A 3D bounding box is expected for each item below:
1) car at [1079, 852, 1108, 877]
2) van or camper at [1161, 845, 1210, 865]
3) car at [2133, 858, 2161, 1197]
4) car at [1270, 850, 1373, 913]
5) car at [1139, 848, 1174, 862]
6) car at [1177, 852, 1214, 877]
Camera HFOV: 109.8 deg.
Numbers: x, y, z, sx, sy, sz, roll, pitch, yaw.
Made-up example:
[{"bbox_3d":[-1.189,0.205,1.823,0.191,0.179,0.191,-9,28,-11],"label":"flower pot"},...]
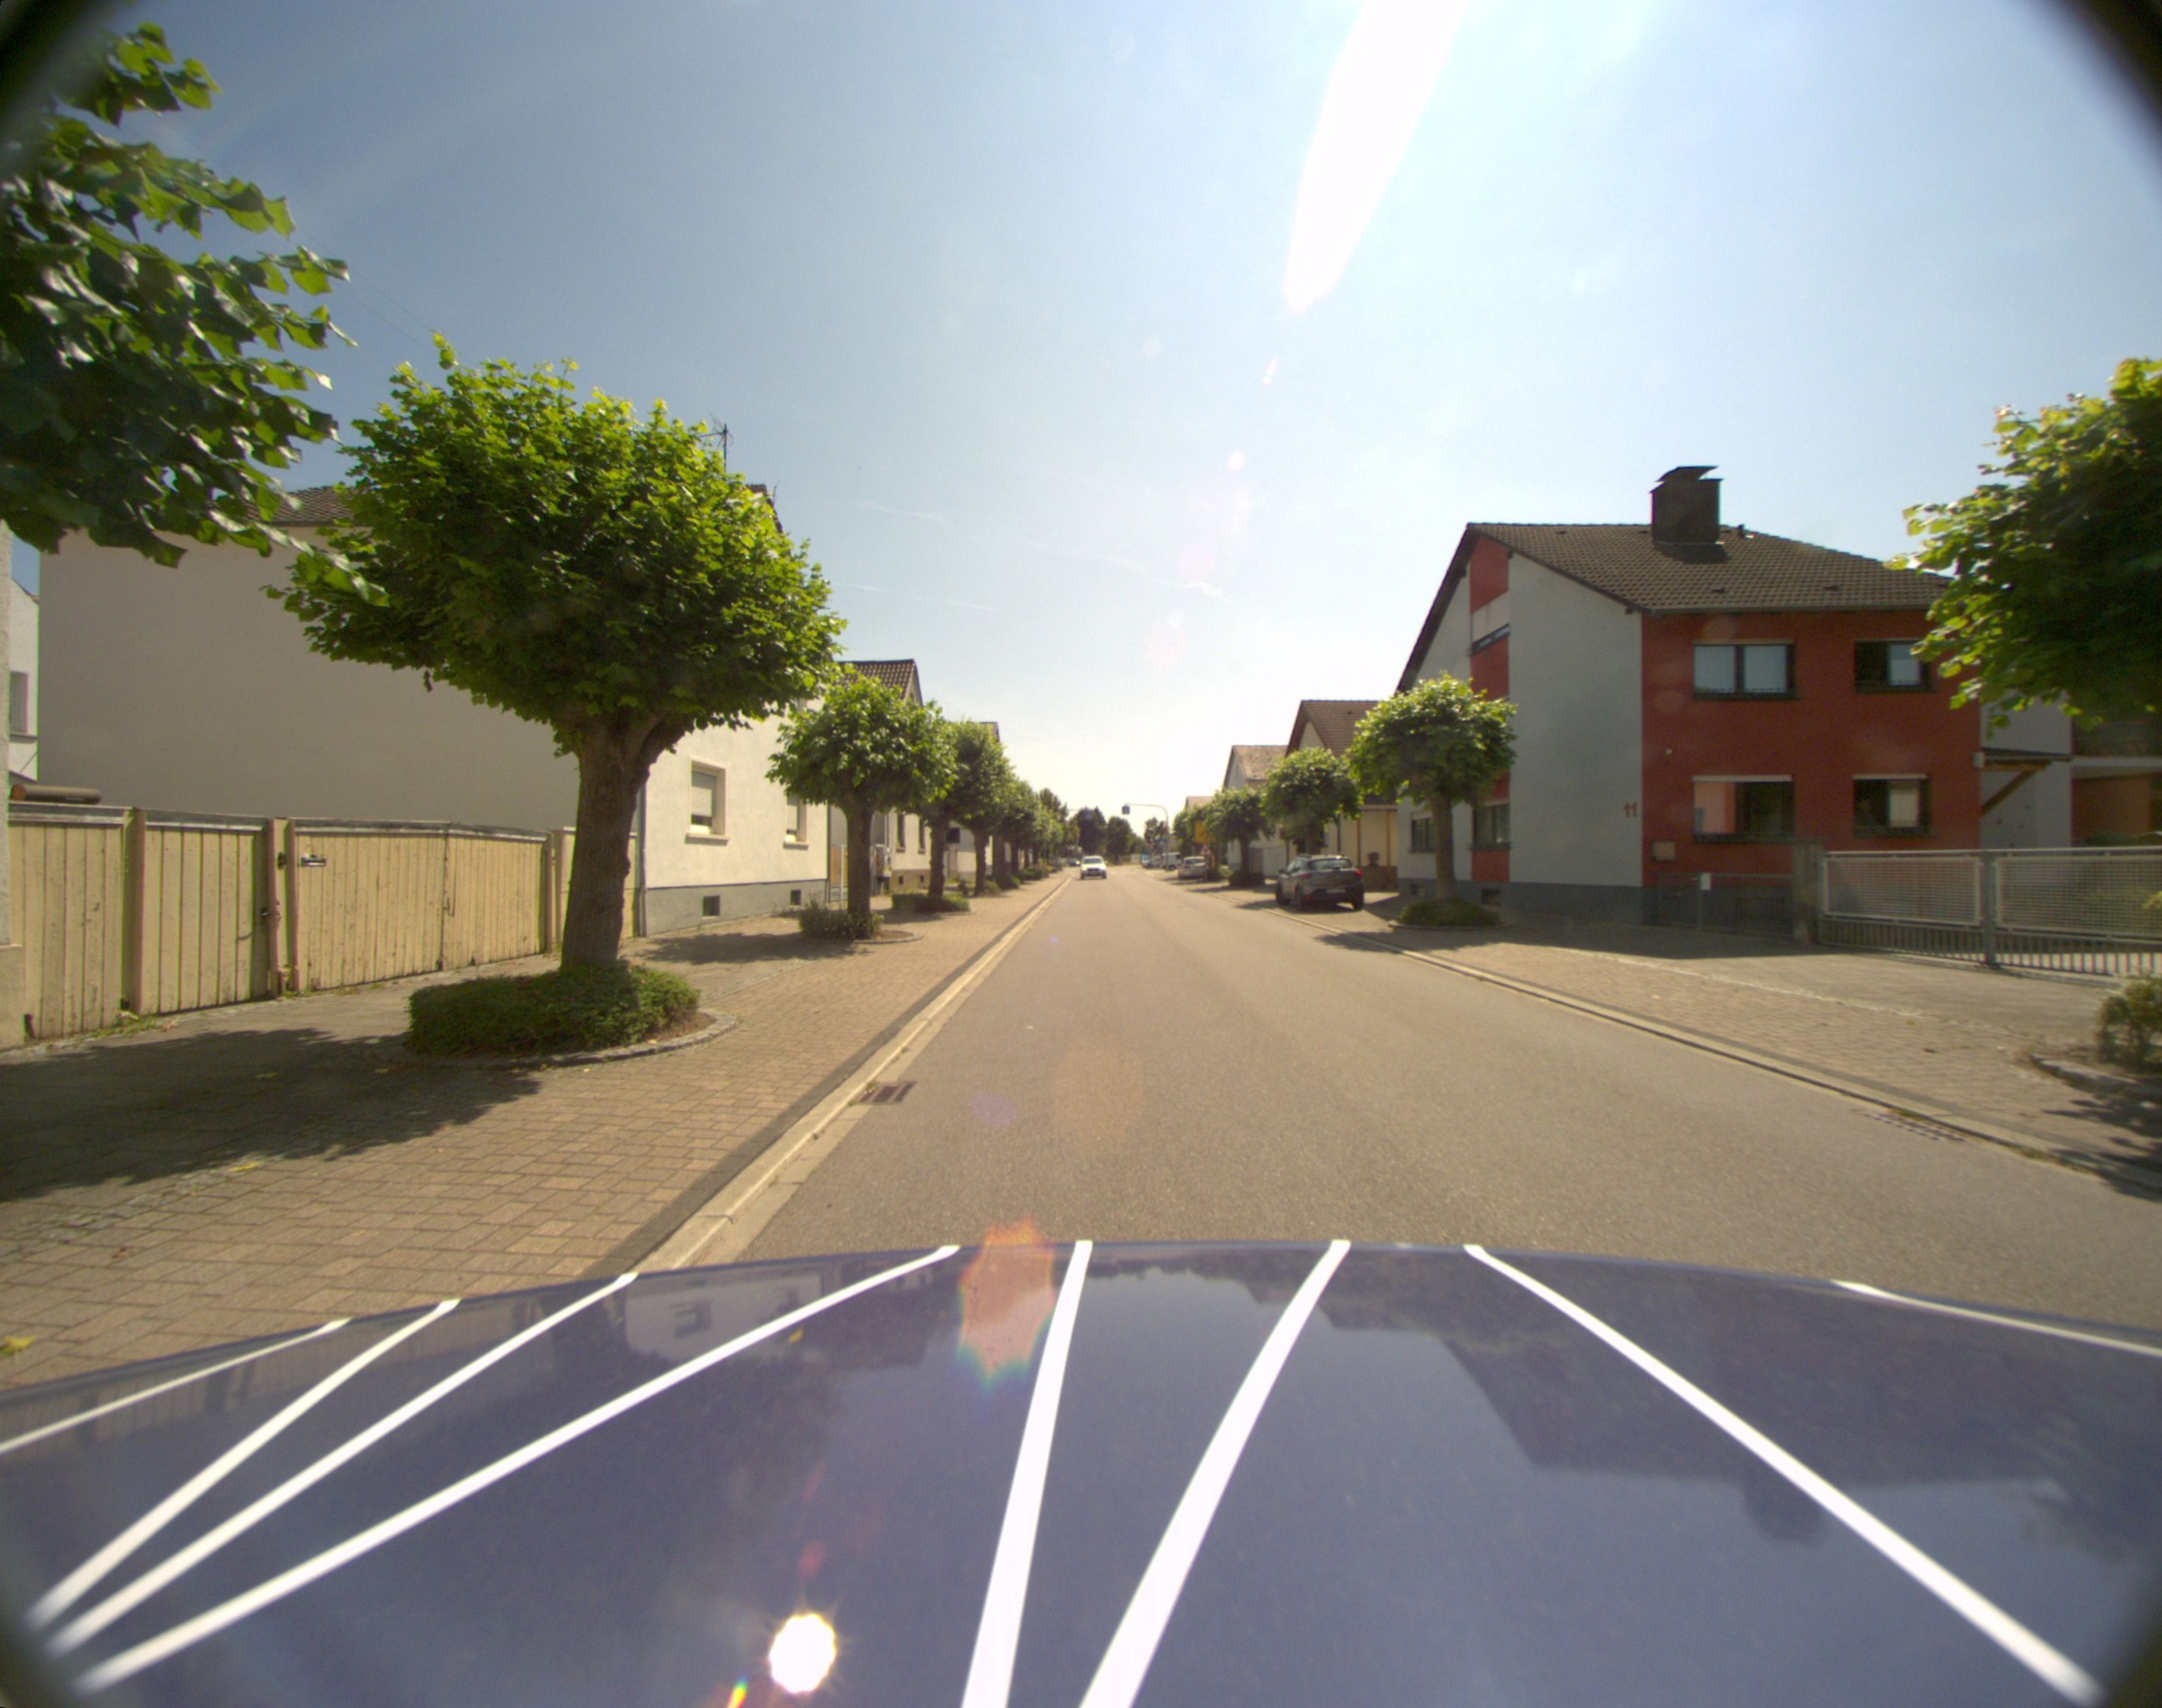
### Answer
[{"bbox_3d":[0.905,0.726,53.218,1.857,1.603,4.135,-2,0,3],"label":"car"},{"bbox_3d":[10.743,0.157,78.330,4.752,1.851,2.000,-2,0,0],"label":"van or camper"},{"bbox_3d":[6.054,0.777,1.541,1.857,1.626,4.299,-3,0,1],"label":"car"},{"bbox_3d":[6.947,0.735,22.373,1.857,1.603,4.135,-2,0,3],"label":"car"},{"bbox_3d":[10.182,0.086,102.595,4.251,1.709,1.945,-3,1,-5],"label":"car"},{"bbox_3d":[7.582,0.673,50.613,1.829,1.474,4.132,-2,0,1],"label":"car"}]
